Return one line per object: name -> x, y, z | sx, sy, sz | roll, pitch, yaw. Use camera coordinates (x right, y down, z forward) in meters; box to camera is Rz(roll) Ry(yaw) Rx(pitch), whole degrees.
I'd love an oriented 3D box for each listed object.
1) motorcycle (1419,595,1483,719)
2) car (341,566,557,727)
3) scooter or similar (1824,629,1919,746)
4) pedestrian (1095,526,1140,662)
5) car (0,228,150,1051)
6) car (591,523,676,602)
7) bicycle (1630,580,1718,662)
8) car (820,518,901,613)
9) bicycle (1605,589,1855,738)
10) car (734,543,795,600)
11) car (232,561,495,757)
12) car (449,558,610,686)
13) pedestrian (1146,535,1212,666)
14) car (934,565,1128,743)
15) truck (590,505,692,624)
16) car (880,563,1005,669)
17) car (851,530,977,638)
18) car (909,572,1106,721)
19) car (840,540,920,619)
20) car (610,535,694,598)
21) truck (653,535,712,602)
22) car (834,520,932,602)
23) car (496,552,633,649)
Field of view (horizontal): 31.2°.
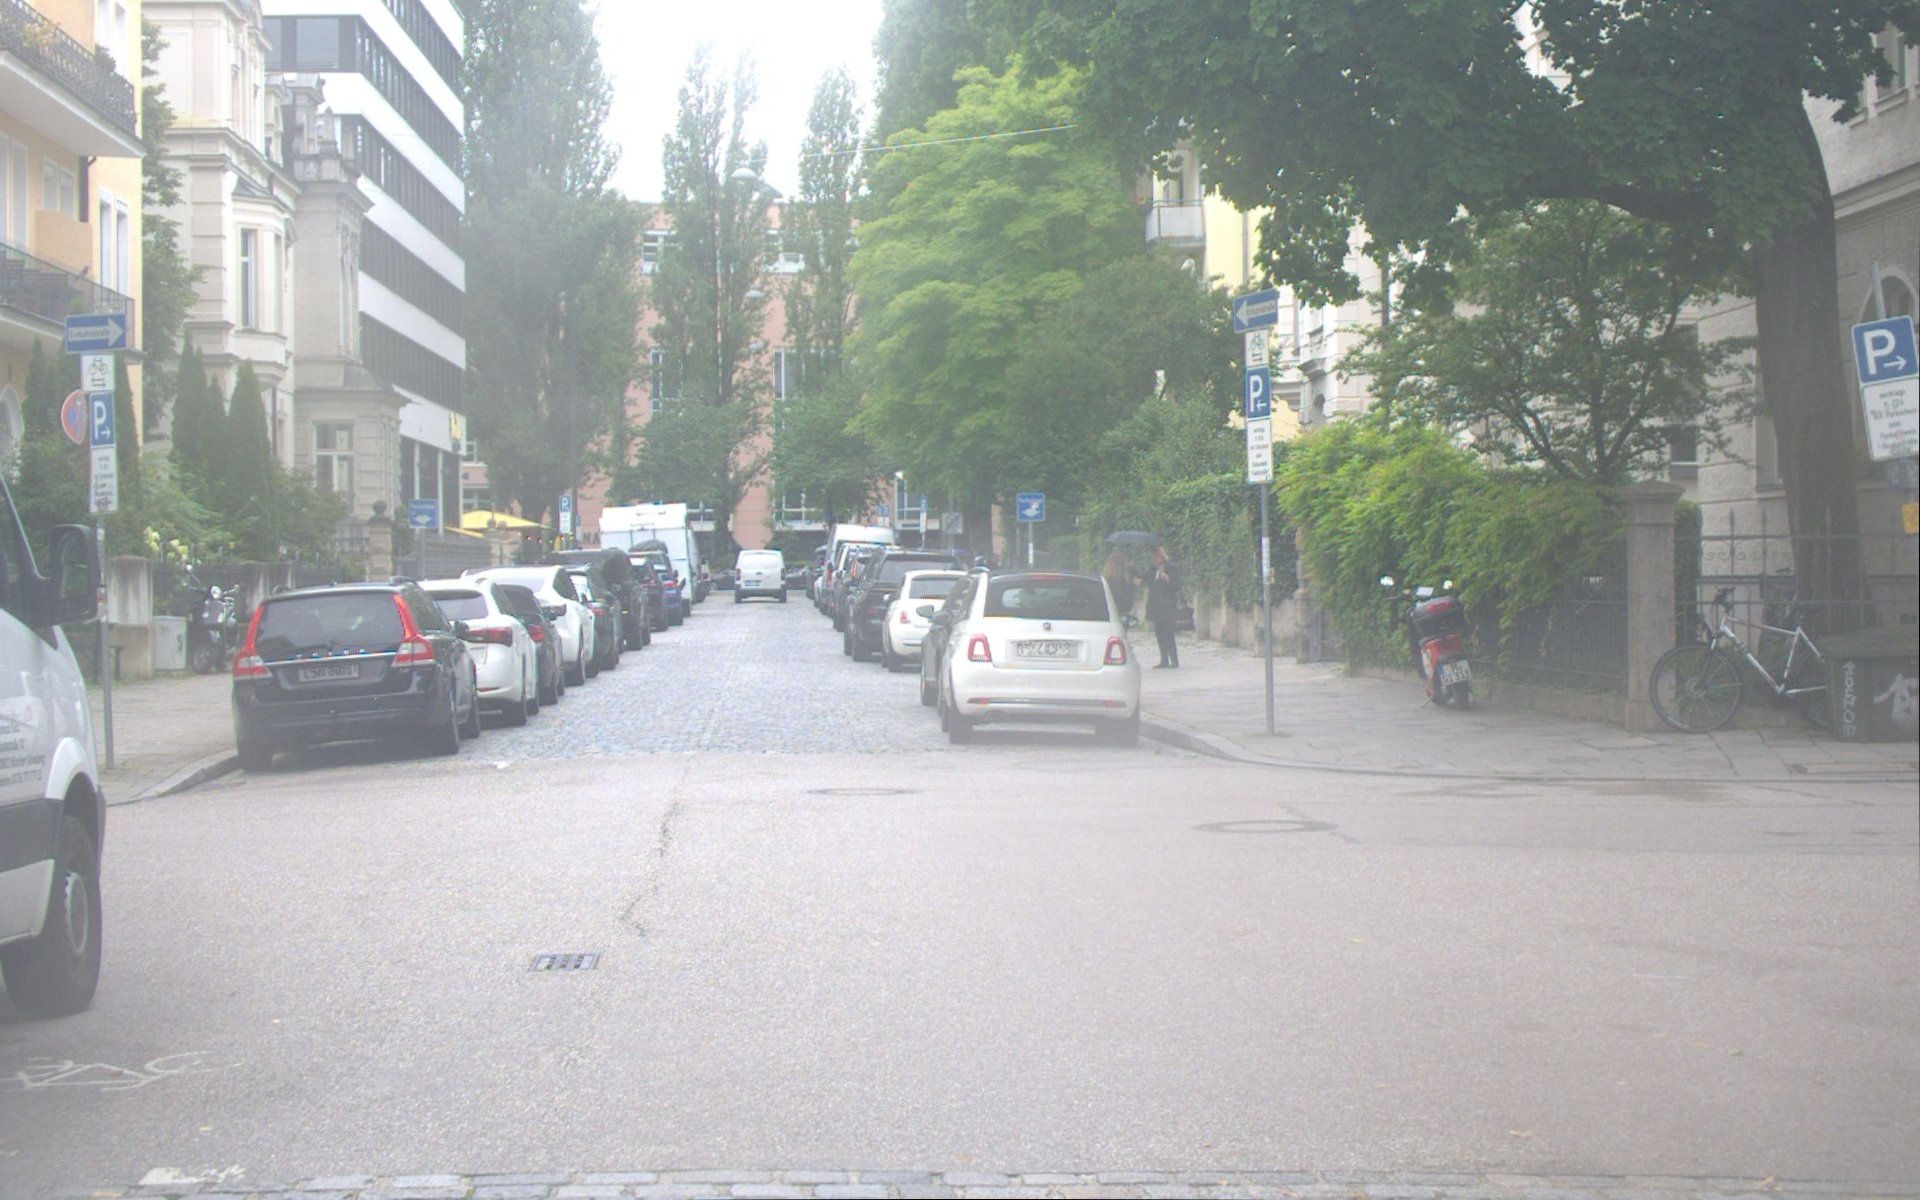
motorcycle -> 4.441, 0.504, 31.159 | 0.362, 1.086, 1.403 | 0, 1, -1
car -> -5.158, 0.420, 35.218 | 1.773, 1.531, 4.541 | 0, 1, -3
scooter or similar -> 7.170, 0.648, 25.884 | 1.183, 0.845, 0.924 | 0, 1, 7
pedestrian -> 2.174, -0.086, 47.448 | 0.576, 1.844, 0.681 | -1, 1, 5
car -> -3.971, 0.153, 9.767 | 1.977, 2.565, 5.794 | -2, 1, -1
car -> -7.293, -0.834, 77.008 | 1.773, 1.712, 4.392 | 0, 1, -4
bicycle -> 7.449, 0.207, 35.947 | 0.491, 0.809, 2.273 | 0, 1, 1
car -> -2.776, -0.991, 95.079 | 1.894, 2.418, 5.612 | 3, 1, -4
bicycle -> 5.994, 0.493, 26.829 | 1.838, 1.120, 0.562 | -1, 1, 7
car -> -6.806, -1.012, 120.053 | 1.996, 1.929, 4.000 | -1, 1, -2
car -> -5.159, 0.453, 30.281 | 1.852, 1.580, 4.749 | 0, 1, -5
car -> -5.762, 0.263, 46.441 | 1.773, 1.642, 4.391 | 0, 1, -2
pedestrian -> 3.039, 0.000, 47.788 | 0.660, 1.802, 0.628 | 0, 1, 43
car -> 0.574, 0.431, 30.392 | 1.502, 1.466, 3.796 | 0, 1, -2
truck -> -8.623, -1.007, 93.489 | 2.508, 3.021, 6.386 | -3, 2, -4
car -> -0.288, 0.216, 50.918 | 1.630, 1.464, 3.659 | 2, 1, -3
car -> -0.800, -0.274, 56.032 | 1.875, 1.667, 5.491 | 0, 1, -2
car -> 0.450, 0.451, 36.861 | 1.648, 1.417, 4.633 | 3, 0, -4
car -> -2.118, -0.556, 89.586 | 1.800, 1.943, 4.861 | 2, 1, -4
car -> -7.338, -0.801, 82.185 | 1.939, 1.454, 4.058 | 0, 1, -4
truck -> -9.869, -1.122, 122.383 | 1.993, 2.338, 4.068 | 0, 1, -3
car -> -1.749, -0.874, 76.399 | 1.963, 1.753, 4.955 | 0, 1, -4
car -> -6.044, -0.017, 52.977 | 1.773, 1.424, 4.391 | 0, 1, -2
